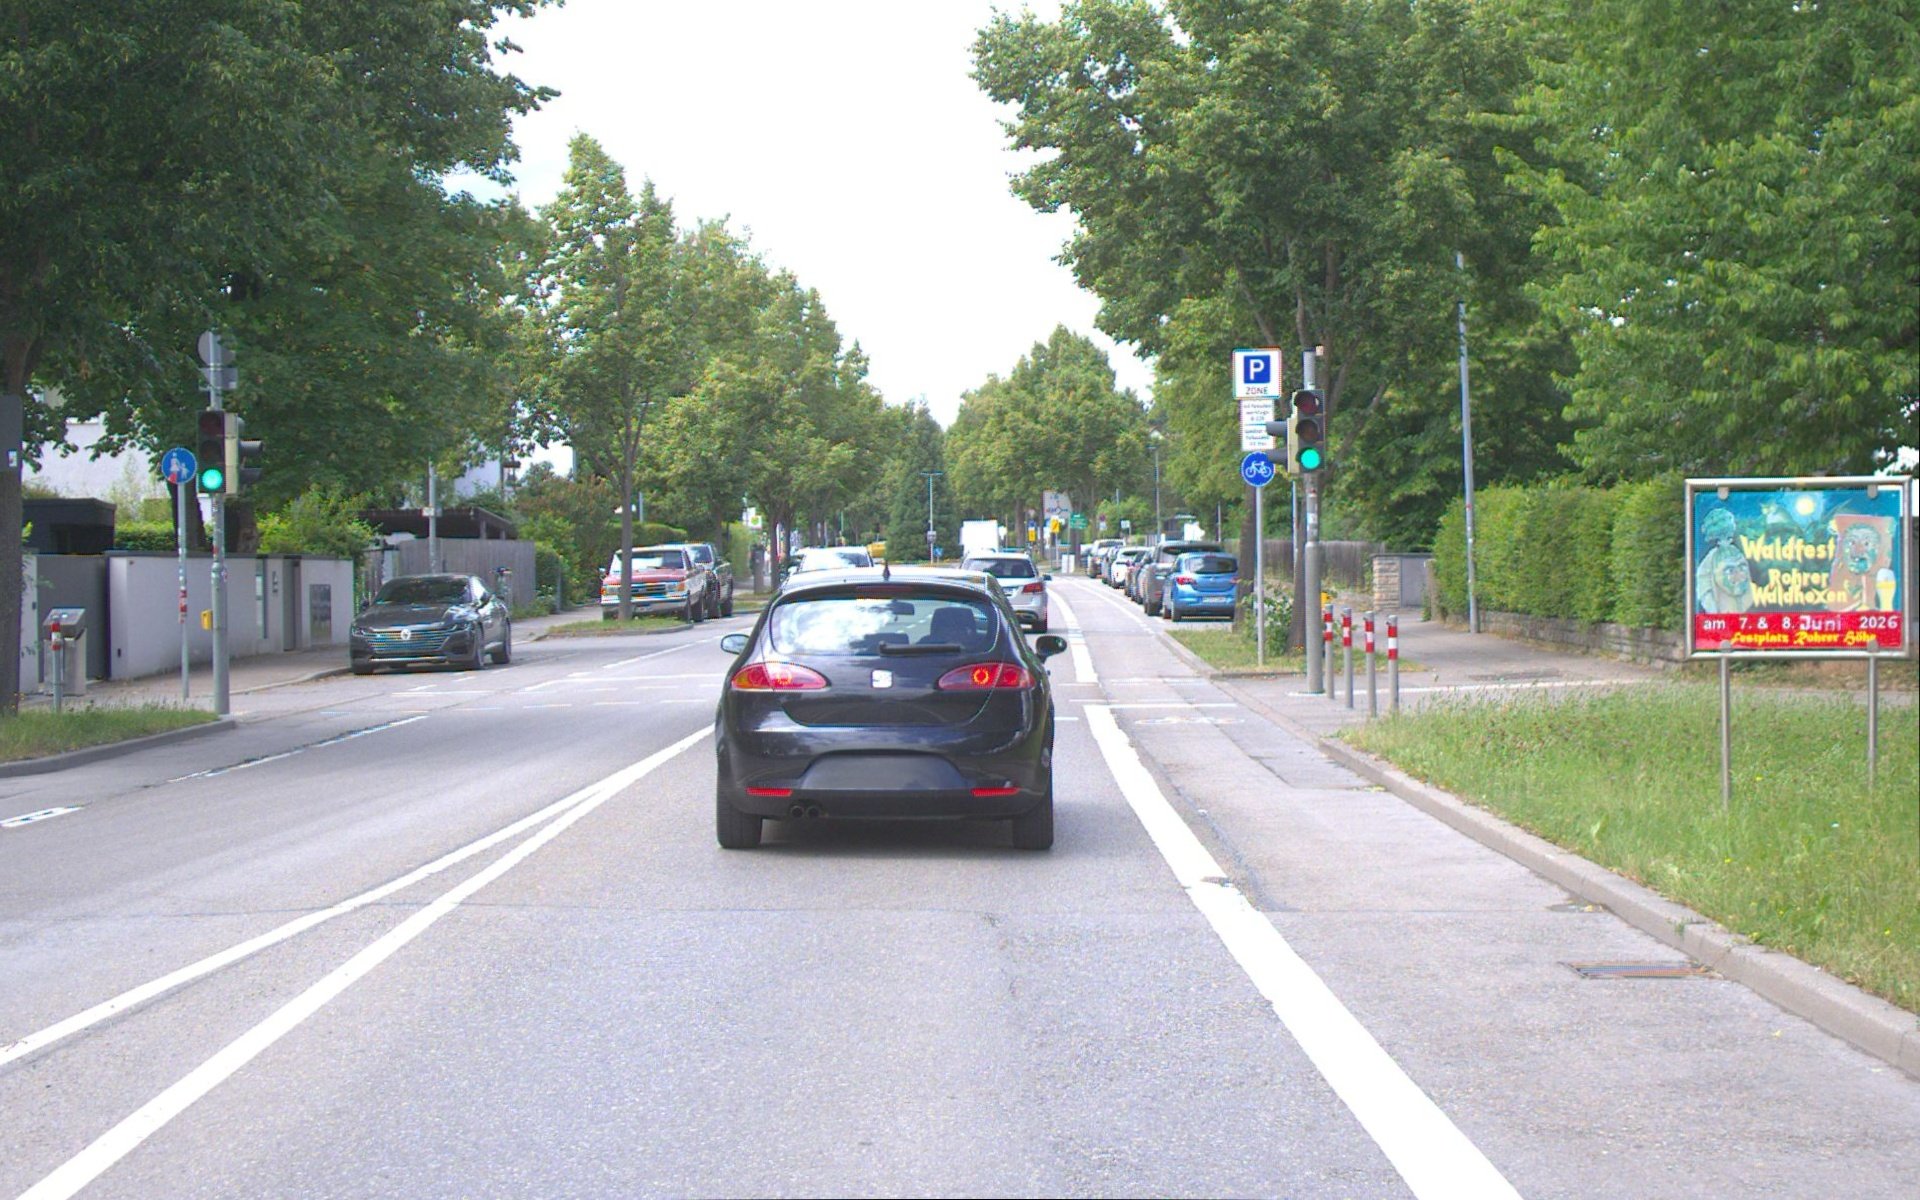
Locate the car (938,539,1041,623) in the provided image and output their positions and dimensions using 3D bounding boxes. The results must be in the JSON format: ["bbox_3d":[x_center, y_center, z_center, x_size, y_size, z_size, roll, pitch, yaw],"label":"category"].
[{"bbox_3d":[0.579,-0.372,64.102,1.846,1.504,3.812,1,1,1],"label":"car"}]

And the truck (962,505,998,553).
[{"bbox_3d":[1.330,-4.715,229.077,2.279,3.093,8.511,1,1,0],"label":"truck"}]

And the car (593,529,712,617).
[{"bbox_3d":[-7.106,-0.658,80.033,2.100,1.890,5.784,-3,1,1],"label":"car"}]

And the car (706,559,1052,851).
[{"bbox_3d":[-0.415,0.488,18.619,1.663,1.396,3.812,1,1,-1],"label":"car"}]

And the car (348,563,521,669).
[{"bbox_3d":[-7.731,0.202,50.958,1.718,1.390,4.801,-3,1,1],"label":"car"}]

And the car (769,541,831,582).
[{"bbox_3d":[-6.371,-1.570,137.419,2.100,1.501,5.784,-3,1,1],"label":"car"}]

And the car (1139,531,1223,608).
[{"bbox_3d":[5.086,-0.732,79.597,1.688,1.705,4.214,-1,1,1],"label":"car"}]

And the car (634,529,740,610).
[{"bbox_3d":[-6.925,-0.803,87.646,2.100,1.890,5.784,-3,1,1],"label":"car"}]

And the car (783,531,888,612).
[{"bbox_3d":[-2.668,-0.643,74.590,1.875,1.629,4.340,-3,1,3],"label":"car"}]

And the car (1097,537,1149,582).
[{"bbox_3d":[5.808,-1.466,122.852,1.688,1.559,4.214,-1,1,1],"label":"car"}]

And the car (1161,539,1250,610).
[{"bbox_3d":[5.281,-0.573,74.315,1.688,1.485,3.355,-1,1,1],"label":"car"}]

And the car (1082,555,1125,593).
[{"bbox_3d":[6.141,-1.141,147.399,1.688,1.559,4.214,-1,1,1],"label":"car"}]

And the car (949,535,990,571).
[{"bbox_3d":[0.466,-2.265,165.164,1.881,1.683,4.214,-1,1,1],"label":"car"}]

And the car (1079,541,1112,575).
[{"bbox_3d":[7.518,-2.346,190.455,1.688,1.869,4.214,-1,1,1],"label":"car"}]
